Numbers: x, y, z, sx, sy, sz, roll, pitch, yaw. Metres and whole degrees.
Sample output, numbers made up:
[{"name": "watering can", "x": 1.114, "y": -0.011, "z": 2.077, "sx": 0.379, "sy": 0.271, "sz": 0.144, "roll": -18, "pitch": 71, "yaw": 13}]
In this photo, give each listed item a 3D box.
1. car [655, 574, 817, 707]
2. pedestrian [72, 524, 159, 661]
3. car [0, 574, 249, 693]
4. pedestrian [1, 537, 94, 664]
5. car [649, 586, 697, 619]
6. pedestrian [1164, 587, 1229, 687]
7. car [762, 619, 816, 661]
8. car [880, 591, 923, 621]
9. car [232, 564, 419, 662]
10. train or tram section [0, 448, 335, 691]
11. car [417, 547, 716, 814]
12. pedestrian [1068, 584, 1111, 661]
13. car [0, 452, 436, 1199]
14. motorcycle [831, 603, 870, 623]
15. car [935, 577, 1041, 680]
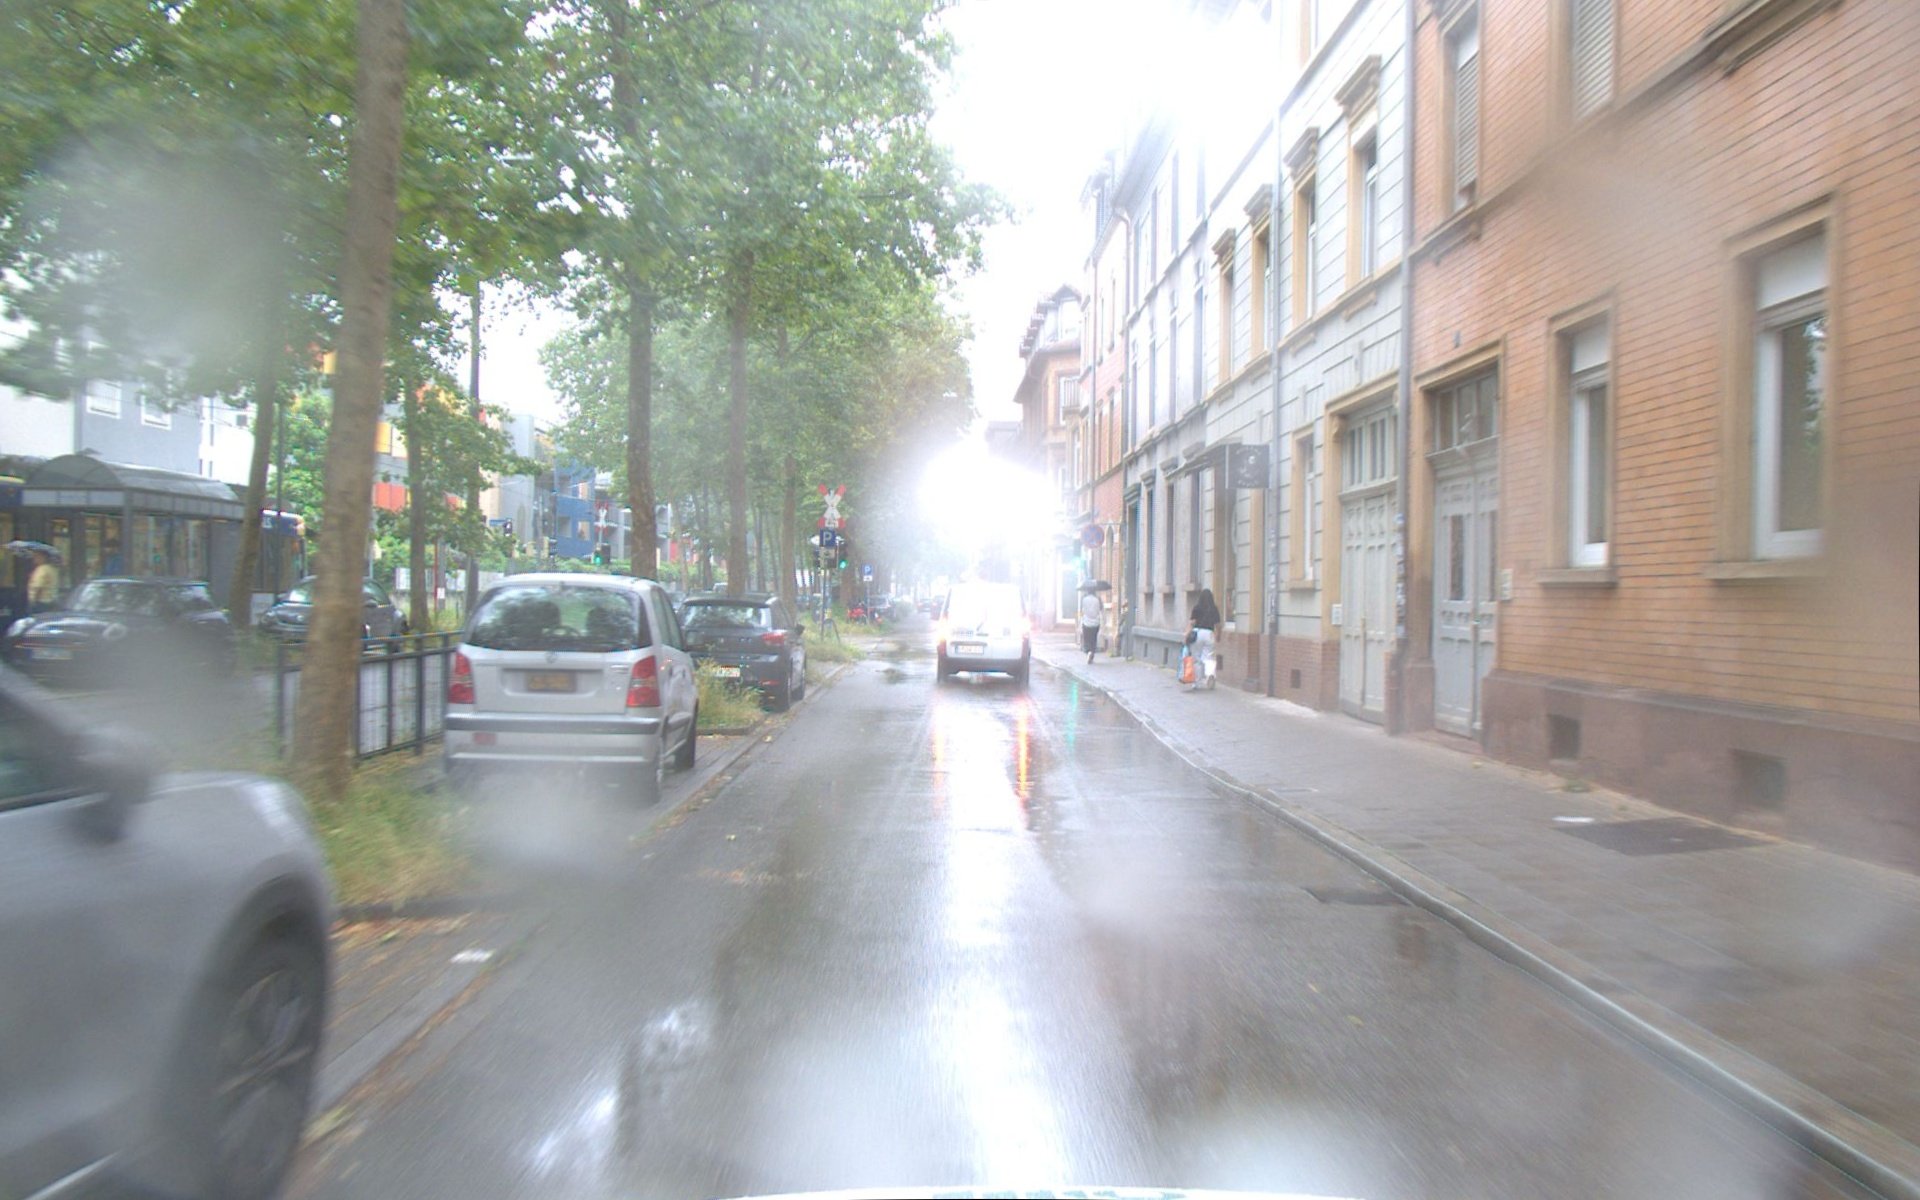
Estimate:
[{"name": "car", "x": -2.880, "y": 0.502, "z": 22.006, "sx": 1.615, "sy": 1.526, "sz": 4.118, "roll": 3, "pitch": 0, "yaw": -1}, {"name": "pedestrian", "x": -12.950, "y": -0.119, "z": 25.393, "sx": 0.851, "sy": 2.049, "sz": 0.821, "roll": 1, "pitch": 0, "yaw": 2}, {"name": "car", "x": -11.264, "y": 0.403, "z": 22.346, "sx": 1.704, "sy": 1.366, "sz": 3.754, "roll": 4, "pitch": 0, "yaw": -2}, {"name": "pedestrian", "x": -12.746, "y": 0.008, "z": 23.129, "sx": 0.801, "sy": 1.733, "sz": 0.872, "roll": 1, "pitch": 0, "yaw": -2}, {"name": "car", "x": -13.026, "y": 0.087, "z": 75.227, "sx": 1.956, "sy": 1.440, "sz": 3.993, "roll": 1, "pitch": 0, "yaw": -8}, {"name": "pedestrian", "x": 3.774, "y": 0.584, "z": 26.512, "sx": 0.823, "sy": 1.538, "sz": 1.107, "roll": -2, "pitch": 0, "yaw": -1}, {"name": "car", "x": -7.232, "y": 1.664, "z": 70.214, "sx": 1.957, "sy": 1.641, "sz": 3.999, "roll": 1, "pitch": 0, "yaw": -2}, {"name": "car", "x": -2.896, "y": 0.287, "z": 82.621, "sx": 1.953, "sy": 1.411, "sz": 4.000, "roll": 1, "pitch": 0, "yaw": 0}, {"name": "car", "x": -11.527, "y": 0.214, "z": 30.343, "sx": 1.953, "sy": 1.641, "sz": 3.999, "roll": 1, "pitch": 0, "yaw": -2}, {"name": "train or tram section", "x": -16.111, "y": -0.308, "z": 31.705, "sx": 3.043, "sy": 3.621, "sz": 14.668, "roll": 1, "pitch": -1, "yaw": -2}, {"name": "car", "x": -2.857, "y": 0.508, "z": 12.718, "sx": 1.592, "sy": 1.711, "sz": 3.657, "roll": 2, "pitch": 1, "yaw": -4}, {"name": "pedestrian", "x": 3.018, "y": 0.518, "z": 38.602, "sx": 0.823, "sy": 1.746, "sz": 1.107, "roll": -2, "pitch": 0, "yaw": -1}, {"name": "car", "x": -2.439, "y": 0.576, "z": 2.802, "sx": 1.664, "sy": 1.664, "sz": 4.355, "roll": 1, "pitch": 0, "yaw": 0}, {"name": "motorcycle", "x": -4.885, "y": 0.581, "z": 73.953, "sx": 1.670, "sy": 0.880, "sz": 0.577, "roll": 1, "pitch": 0, "yaw": 4}, {"name": "car", "x": 0.484, "y": 0.553, "z": 31.817, "sx": 1.865, "sy": 1.829, "sz": 4.112, "roll": 1, "pitch": -1, "yaw": -1}]
